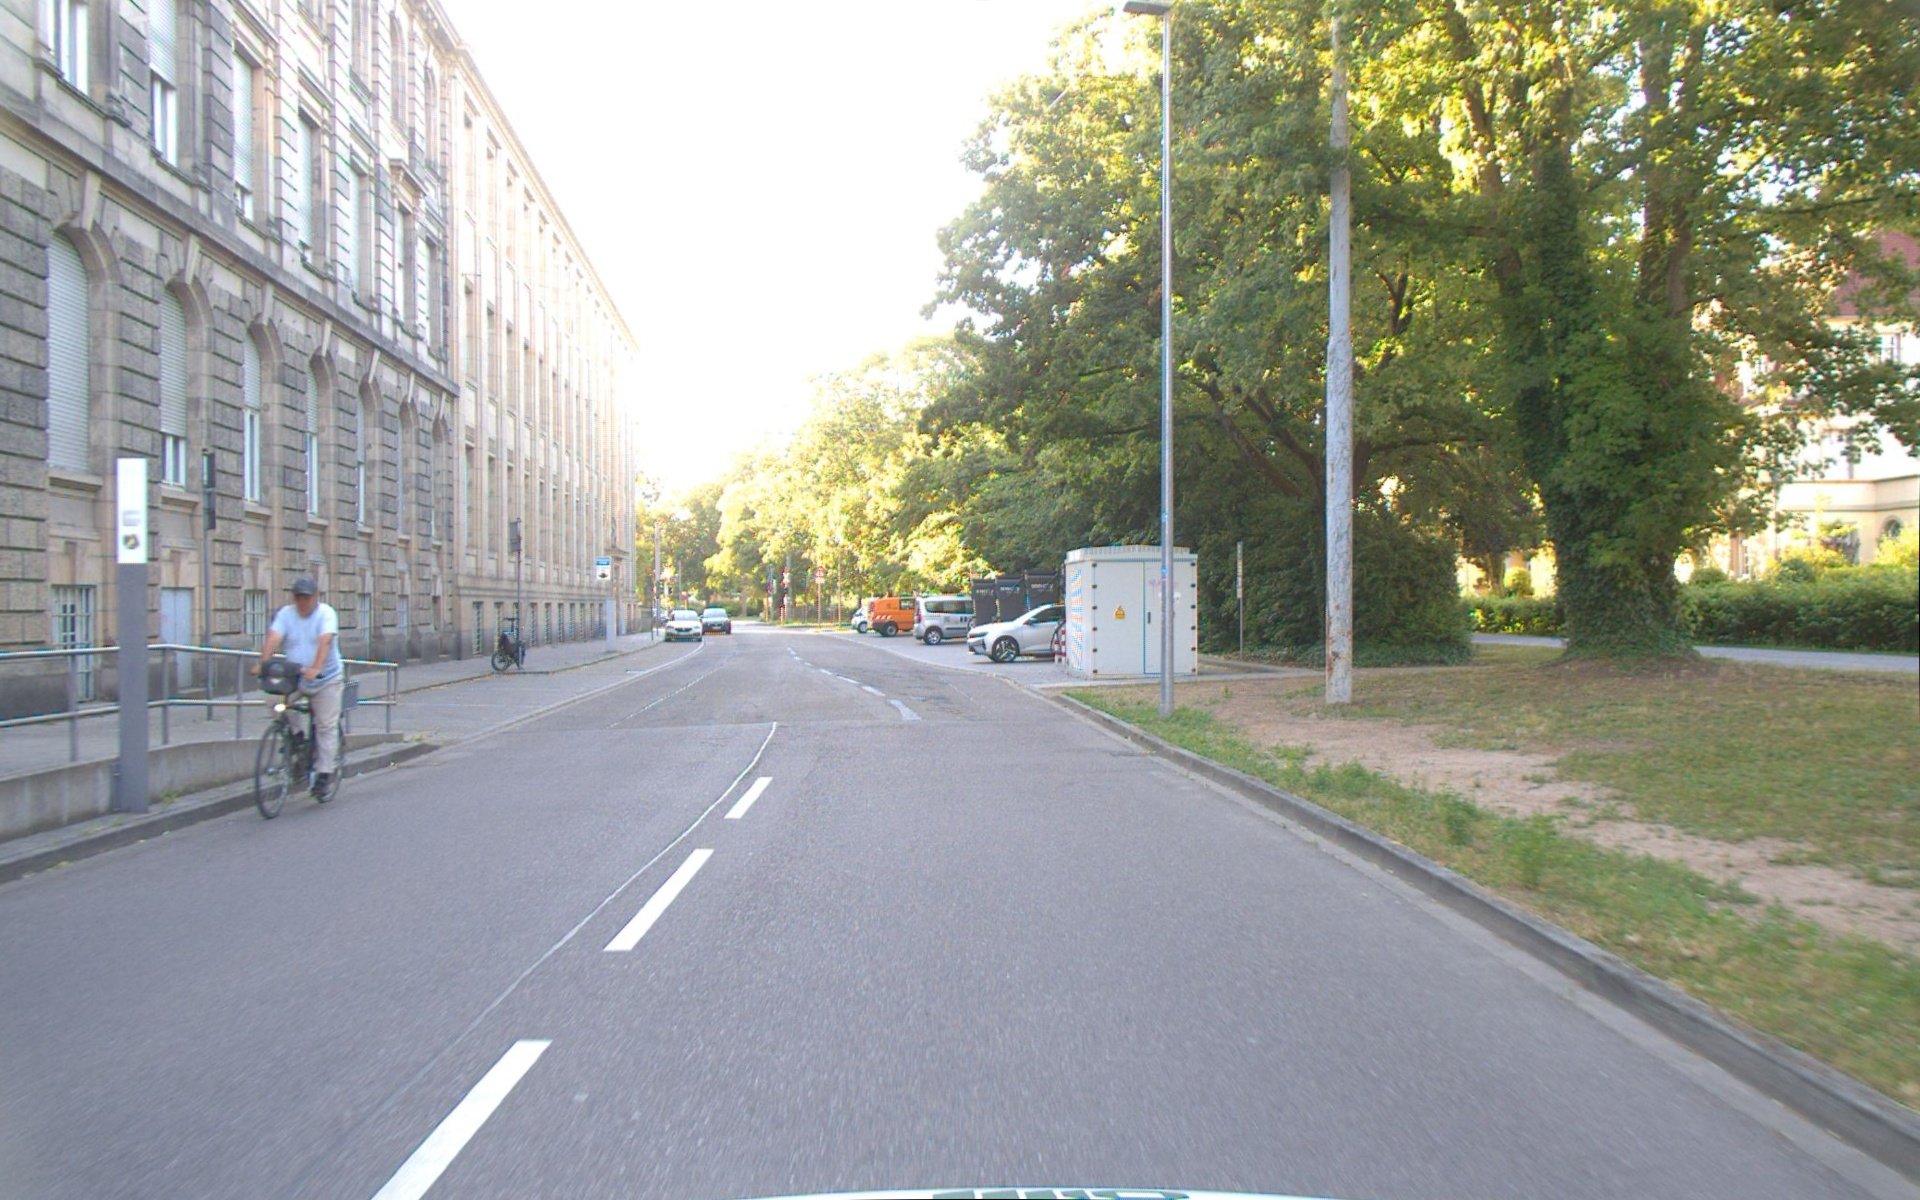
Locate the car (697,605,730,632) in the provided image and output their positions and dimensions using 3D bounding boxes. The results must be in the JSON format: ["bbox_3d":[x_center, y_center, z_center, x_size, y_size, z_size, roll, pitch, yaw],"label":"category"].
[{"bbox_3d":[-14.478,1.082,97.141,1.844,1.492,4.363,0,0,-9],"label":"car"}]

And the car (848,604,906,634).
[{"bbox_3d":[-4.757,1.072,94.576,3.090,1.529,1.535,-2,0,-13],"label":"car"}]

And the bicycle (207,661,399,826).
[{"bbox_3d":[-5.042,1.063,12.851,0.649,1.089,2.153,-1,0,-1],"label":"bicycle"}]

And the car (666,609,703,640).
[{"bbox_3d":[-13.272,1.153,79.789,1.695,1.422,4.363,0,0,-9],"label":"car"}]

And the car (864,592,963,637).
[{"bbox_3d":[-2.395,0.727,84.605,4.736,2.049,1.796,-2,0,-14],"label":"car"}]

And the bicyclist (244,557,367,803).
[{"bbox_3d":[-5.055,0.601,12.811,0.632,1.838,0.780,-1,0,-1],"label":"bicyclist"}]

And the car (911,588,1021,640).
[{"bbox_3d":[0.221,0.552,65.496,4.147,1.892,1.997,-2,-1,-6],"label":"car"}]

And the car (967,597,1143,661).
[{"bbox_3d":[2.464,0.743,43.414,4.357,1.495,1.779,-2,0,-8],"label":"car"}]

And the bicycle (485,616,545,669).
[{"bbox_3d":[-9.860,0.932,36.687,0.835,1.121,1.981,1,0,-2],"label":"bicycle"}]
